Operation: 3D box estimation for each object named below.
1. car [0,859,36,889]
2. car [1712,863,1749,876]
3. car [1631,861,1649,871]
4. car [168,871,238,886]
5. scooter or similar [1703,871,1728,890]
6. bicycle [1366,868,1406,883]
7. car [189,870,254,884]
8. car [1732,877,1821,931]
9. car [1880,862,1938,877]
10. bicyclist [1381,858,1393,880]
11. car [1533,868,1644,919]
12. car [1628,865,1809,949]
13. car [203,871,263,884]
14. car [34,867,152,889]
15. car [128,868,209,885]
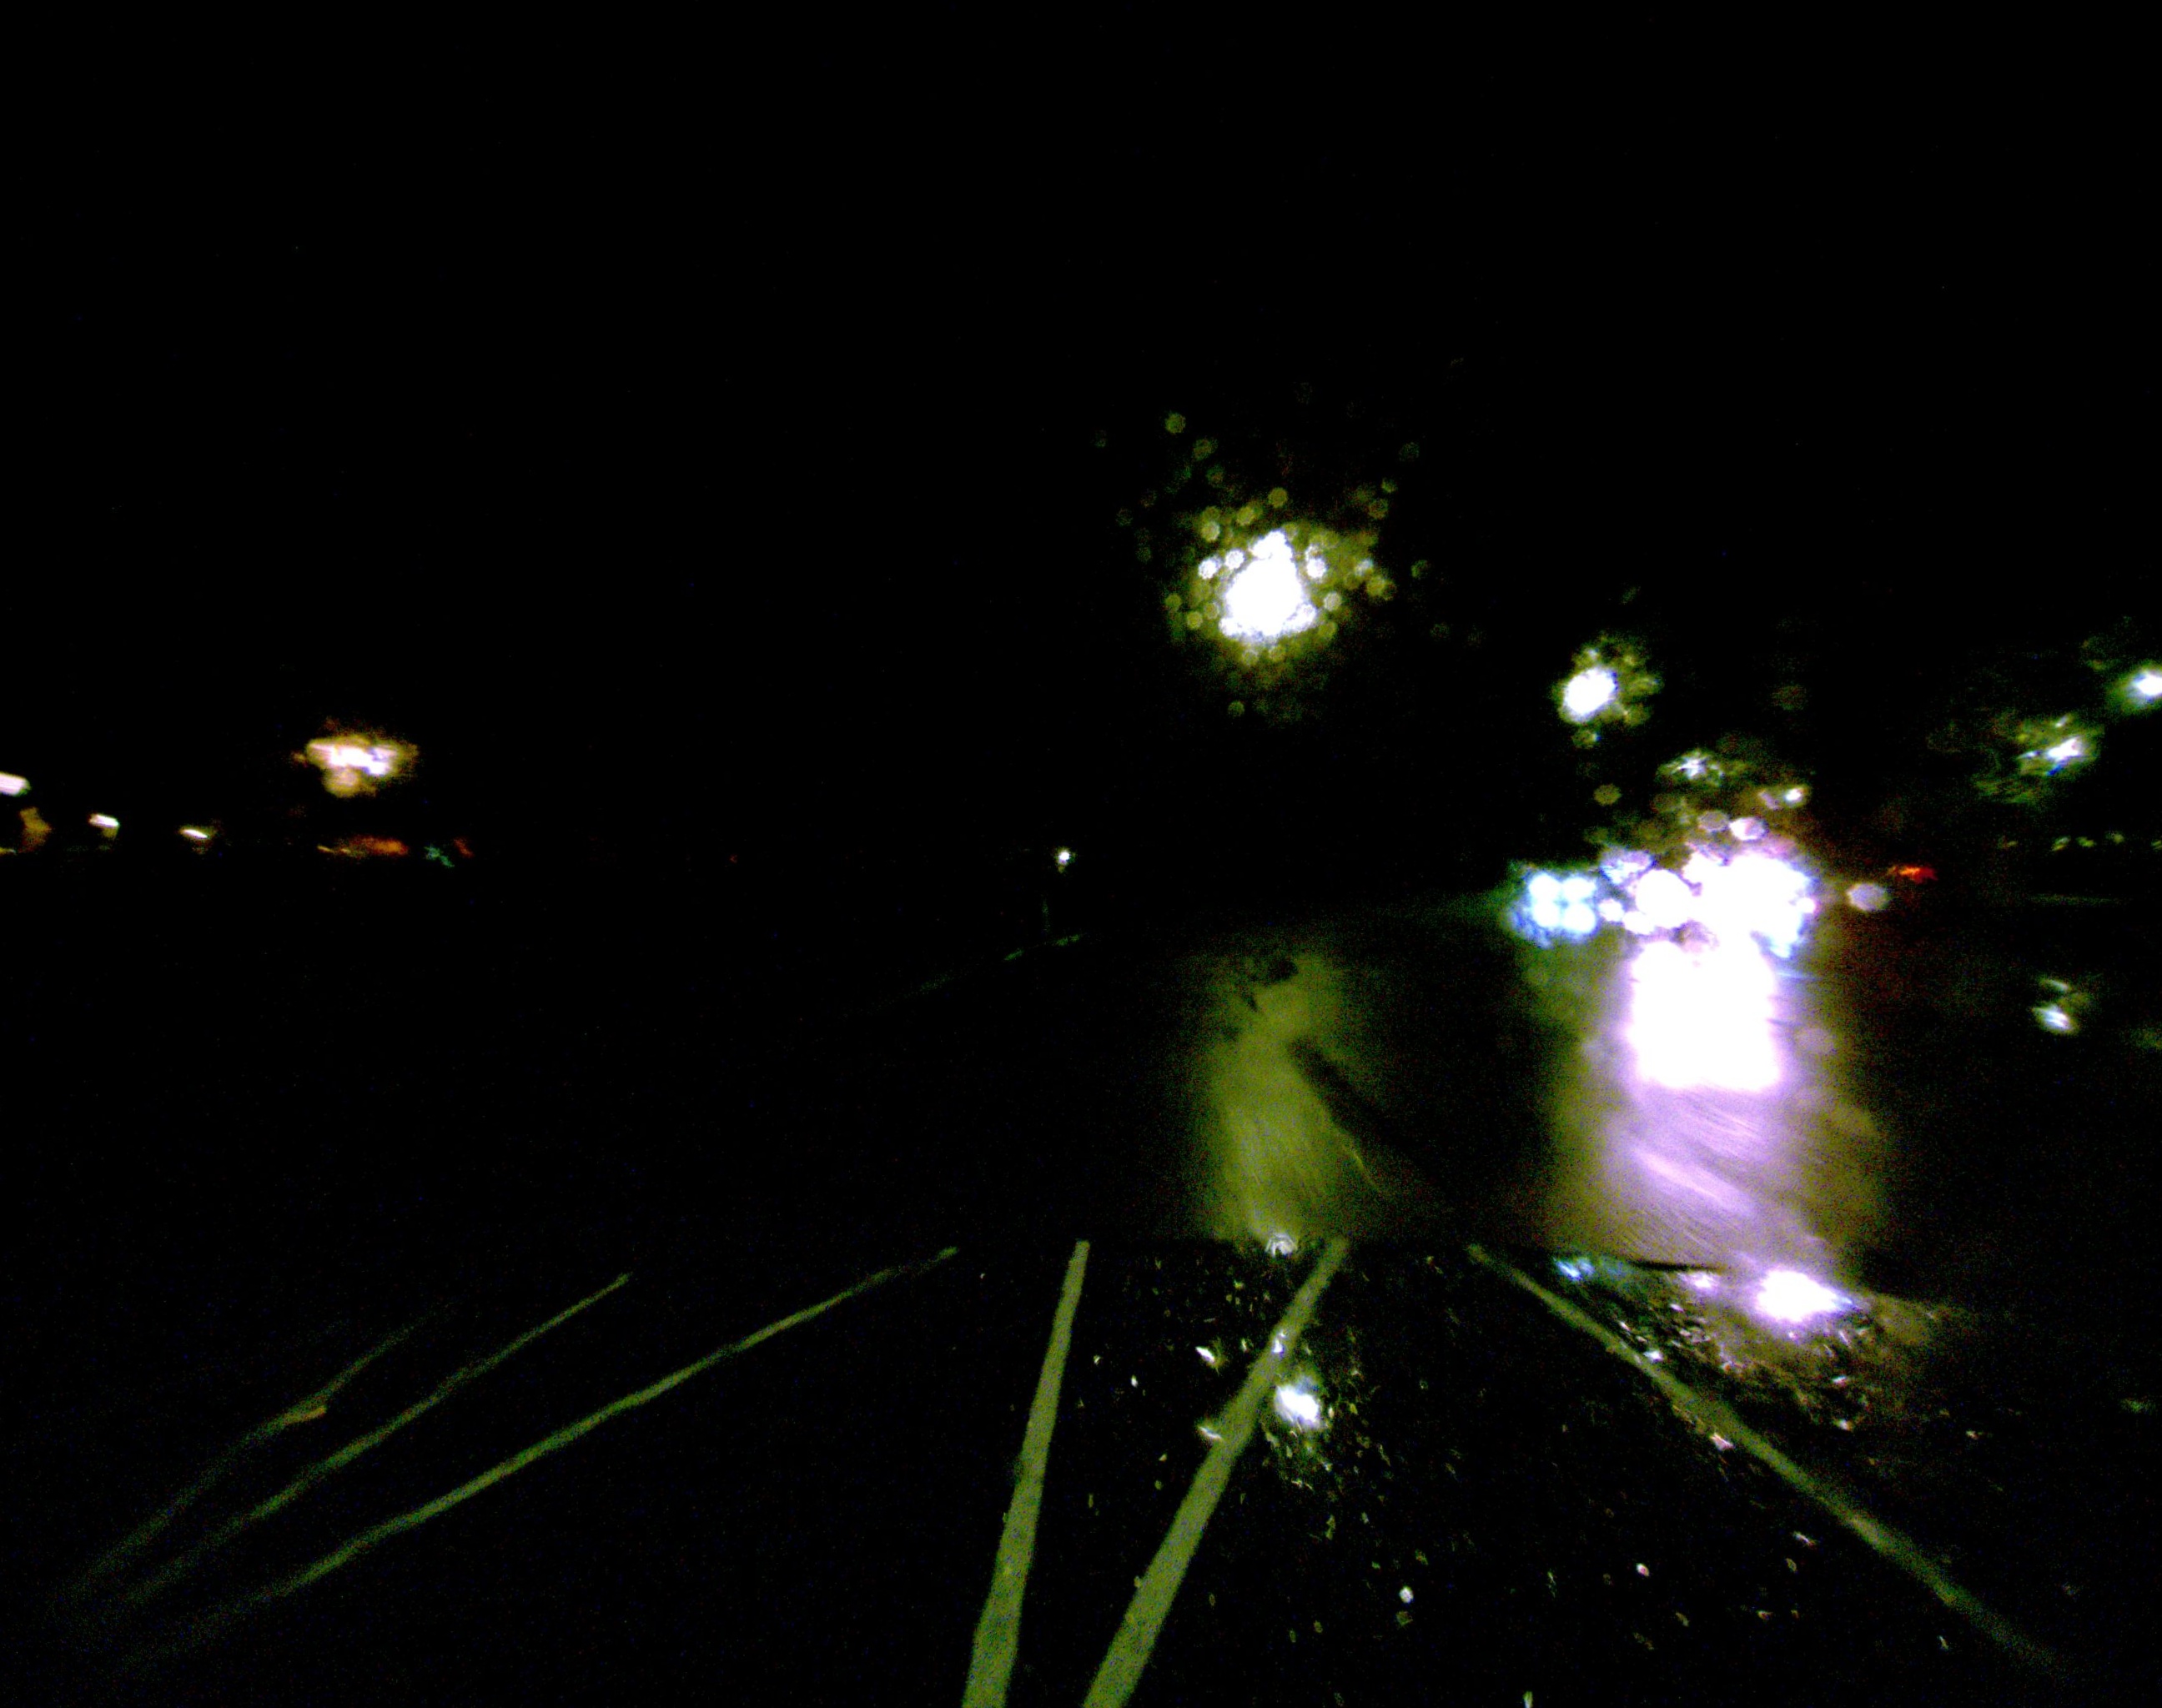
[{"bbox_3d":[-58.310,1.058,39.120,5.005,1.527,1.717,0,-1,-39],"label":"car"},{"bbox_3d":[90.609,2.146,106.070,2.066,1.705,5.047,-1,-1,16],"label":"car"},{"bbox_3d":[101.956,2.241,138.496,2.064,1.705,5.051,-2,-1,43],"label":"car"},{"bbox_3d":[-85.063,2.341,73.677,4.158,1.366,1.717,0,-1,-39],"label":"car"},{"bbox_3d":[38.352,1.575,45.958,0.318,1.091,1.101,0,1,-38],"label":"scooter or similar"},{"bbox_3d":[20.425,1.435,50.868,2.415,0.970,0.623,-1,-1,31],"label":"bicycle"},{"bbox_3d":[-88.600,2.371,78.389,4.158,1.366,1.717,0,-1,-39],"label":"car"},{"bbox_3d":[24.793,1.704,27.044,4.203,1.696,1.830,0,-1,-41],"label":"car"},{"bbox_3d":[76.801,1.463,70.563,1.826,1.364,3.953,-1,-1,16],"label":"car"},{"bbox_3d":[20.482,0.983,50.829,0.604,1.438,0.618,-1,-1,32],"label":"bicyclist"},{"bbox_3d":[18.989,1.405,28.375,4.450,1.709,1.947,0,-1,-35],"label":"car"},{"bbox_3d":[13.613,1.016,16.127,4.884,1.517,1.830,0,-1,-36],"label":"car"},{"bbox_3d":[-93.306,2.549,83.658,4.158,1.366,1.717,0,-1,-39],"label":"car"},{"bbox_3d":[-72.446,1.745,55.856,5.005,1.527,1.717,0,-1,-39],"label":"car"},{"bbox_3d":[-78.659,1.958,65.583,4.158,1.366,1.717,0,-1,-39],"label":"car"}]
